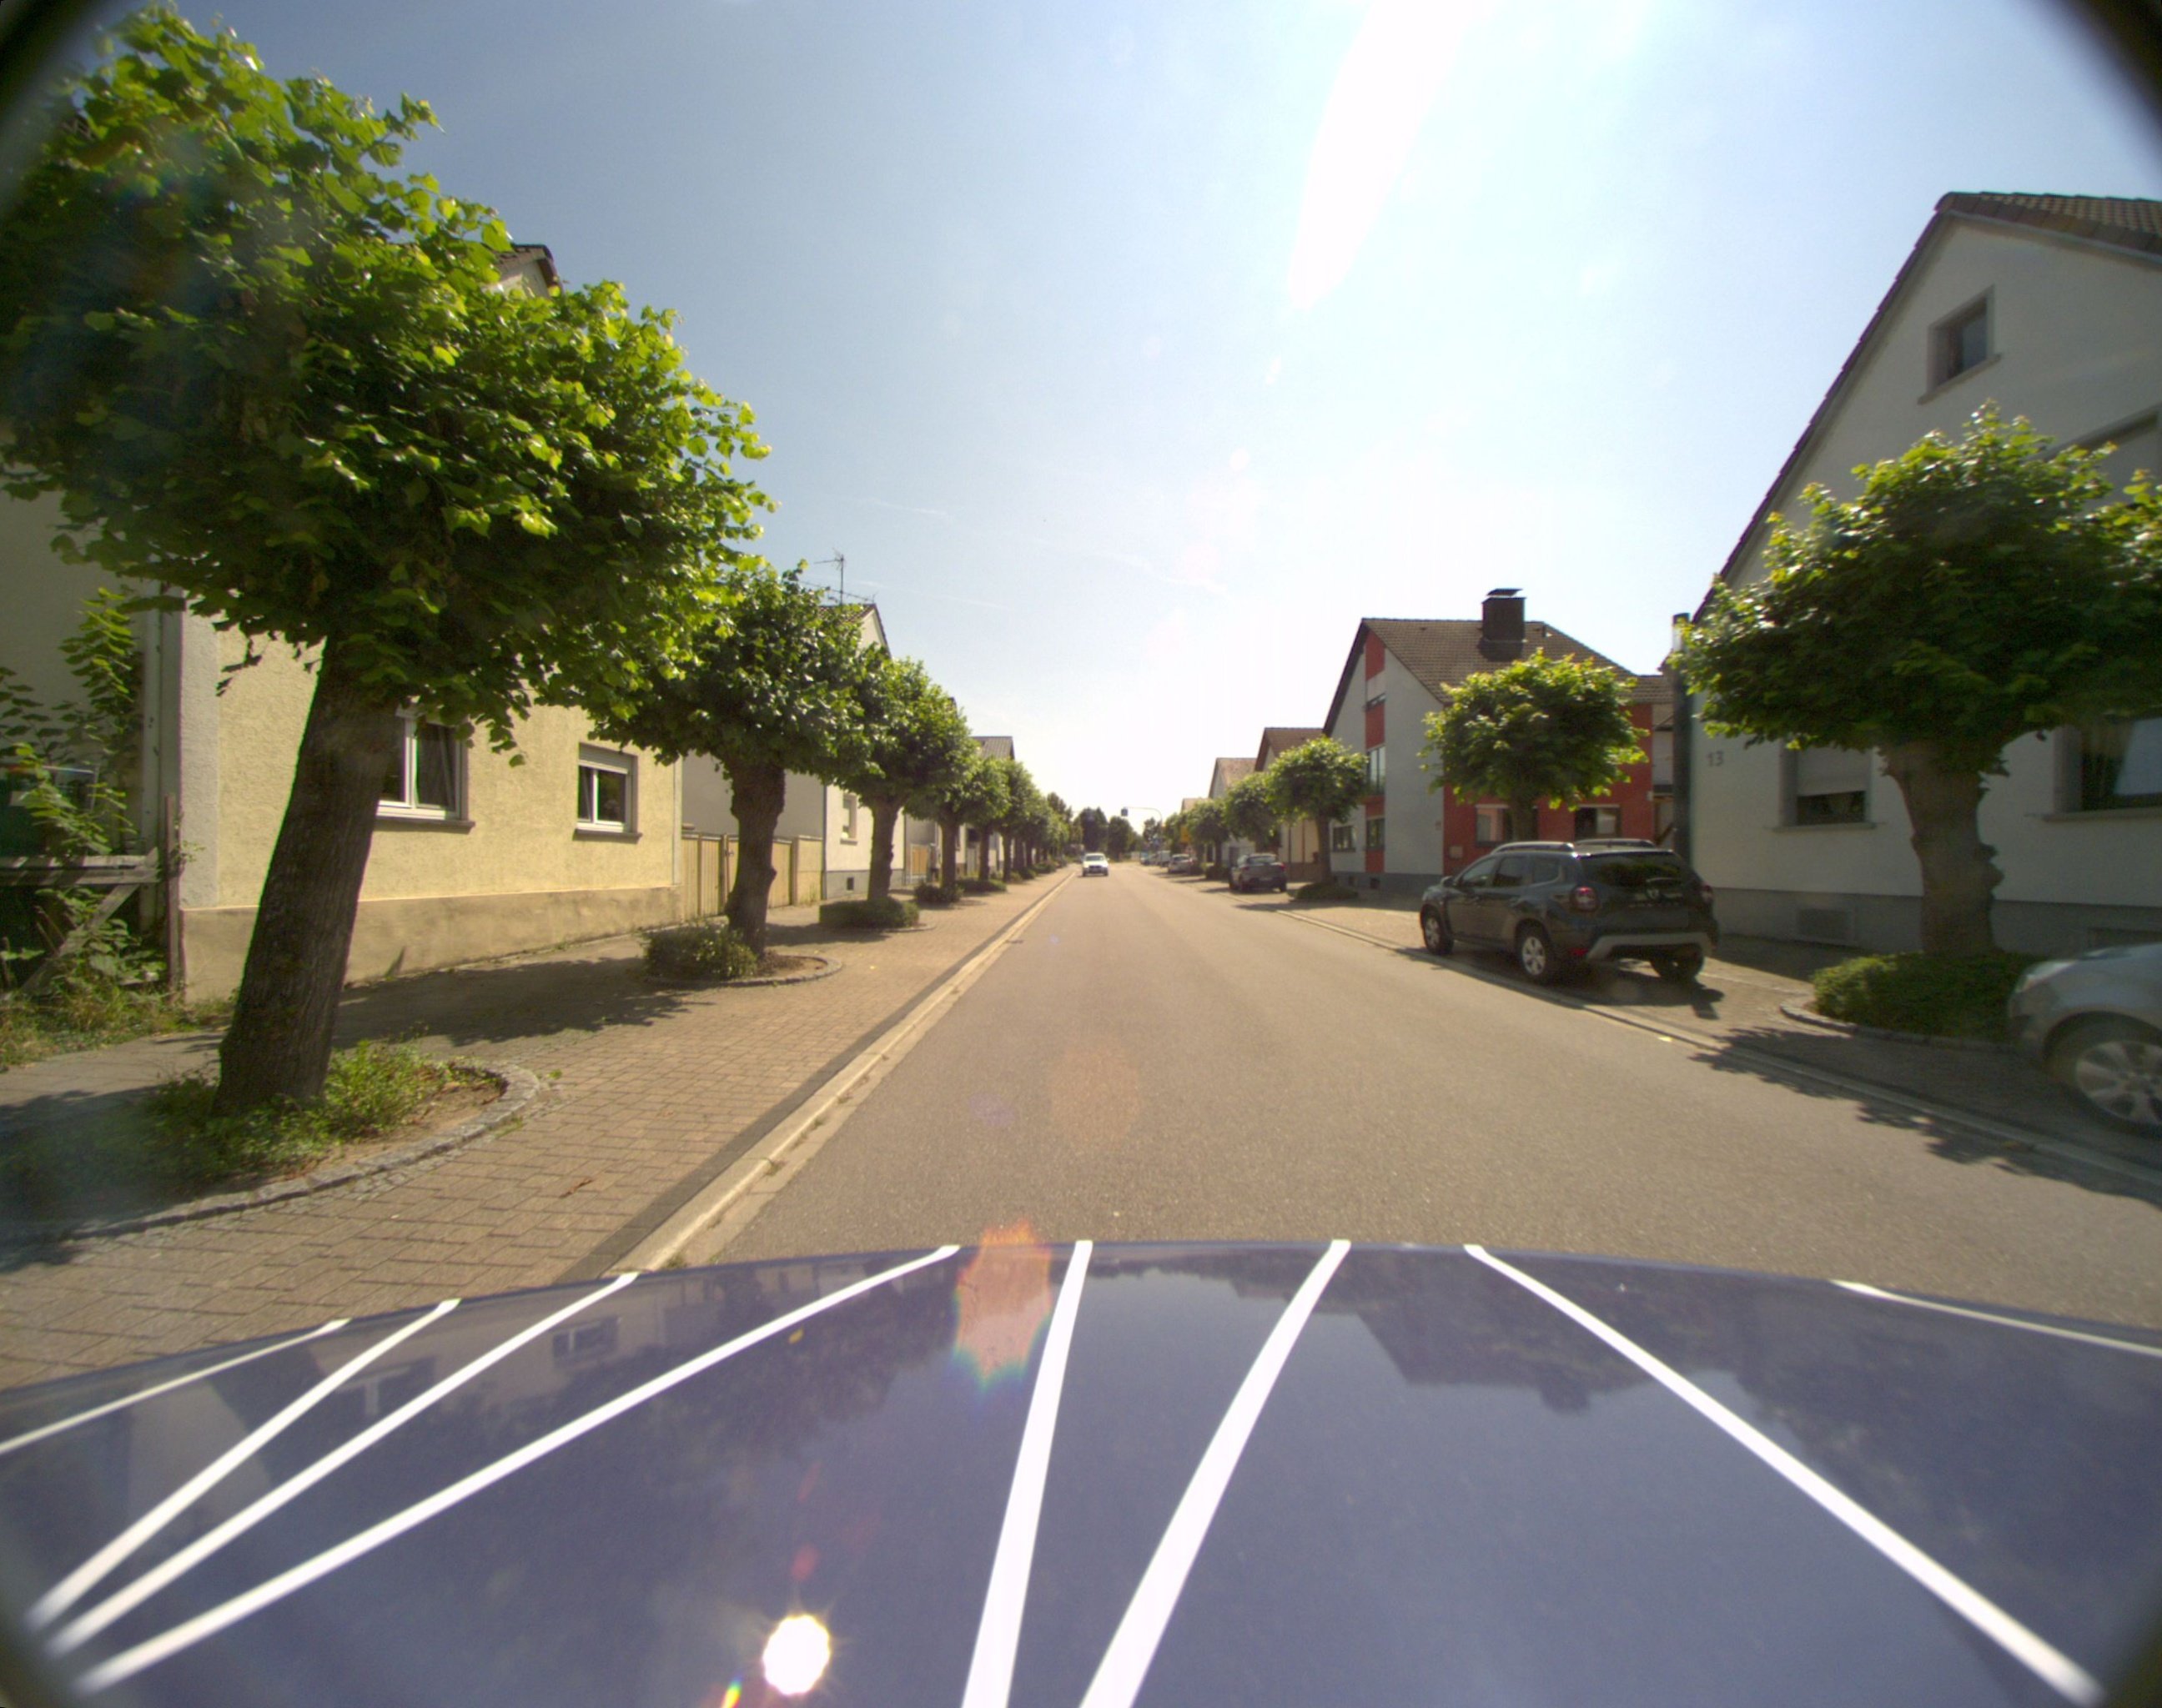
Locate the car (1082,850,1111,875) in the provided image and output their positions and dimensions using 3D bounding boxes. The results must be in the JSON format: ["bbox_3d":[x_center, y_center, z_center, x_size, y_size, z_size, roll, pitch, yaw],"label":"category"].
[{"bbox_3d":[1.126,0.578,53.121,1.857,1.603,4.135,-2,0,3],"label":"car"}]

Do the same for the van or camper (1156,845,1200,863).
[{"bbox_3d":[11.052,-0.002,86.872,4.752,1.851,2.000,-2,0,0],"label":"van or camper"}]

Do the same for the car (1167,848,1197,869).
[{"bbox_3d":[7.800,0.342,59.060,1.829,1.474,4.132,-2,1,1],"label":"car"}]

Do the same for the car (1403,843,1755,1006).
[{"bbox_3d":[6.127,0.757,10.109,1.857,1.626,4.299,-2,0,1],"label":"car"}]

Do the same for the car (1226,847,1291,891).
[{"bbox_3d":[7.135,0.541,30.935,1.857,1.603,4.135,-2,0,3],"label":"car"}]

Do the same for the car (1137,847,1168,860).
[{"bbox_3d":[10.434,-0.122,111.140,4.251,1.709,1.945,-2,1,-4],"label":"car"}]

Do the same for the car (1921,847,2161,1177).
[{"bbox_3d":[6.332,0.804,2.713,1.857,1.604,4.370,-2,1,1],"label":"car"}]
